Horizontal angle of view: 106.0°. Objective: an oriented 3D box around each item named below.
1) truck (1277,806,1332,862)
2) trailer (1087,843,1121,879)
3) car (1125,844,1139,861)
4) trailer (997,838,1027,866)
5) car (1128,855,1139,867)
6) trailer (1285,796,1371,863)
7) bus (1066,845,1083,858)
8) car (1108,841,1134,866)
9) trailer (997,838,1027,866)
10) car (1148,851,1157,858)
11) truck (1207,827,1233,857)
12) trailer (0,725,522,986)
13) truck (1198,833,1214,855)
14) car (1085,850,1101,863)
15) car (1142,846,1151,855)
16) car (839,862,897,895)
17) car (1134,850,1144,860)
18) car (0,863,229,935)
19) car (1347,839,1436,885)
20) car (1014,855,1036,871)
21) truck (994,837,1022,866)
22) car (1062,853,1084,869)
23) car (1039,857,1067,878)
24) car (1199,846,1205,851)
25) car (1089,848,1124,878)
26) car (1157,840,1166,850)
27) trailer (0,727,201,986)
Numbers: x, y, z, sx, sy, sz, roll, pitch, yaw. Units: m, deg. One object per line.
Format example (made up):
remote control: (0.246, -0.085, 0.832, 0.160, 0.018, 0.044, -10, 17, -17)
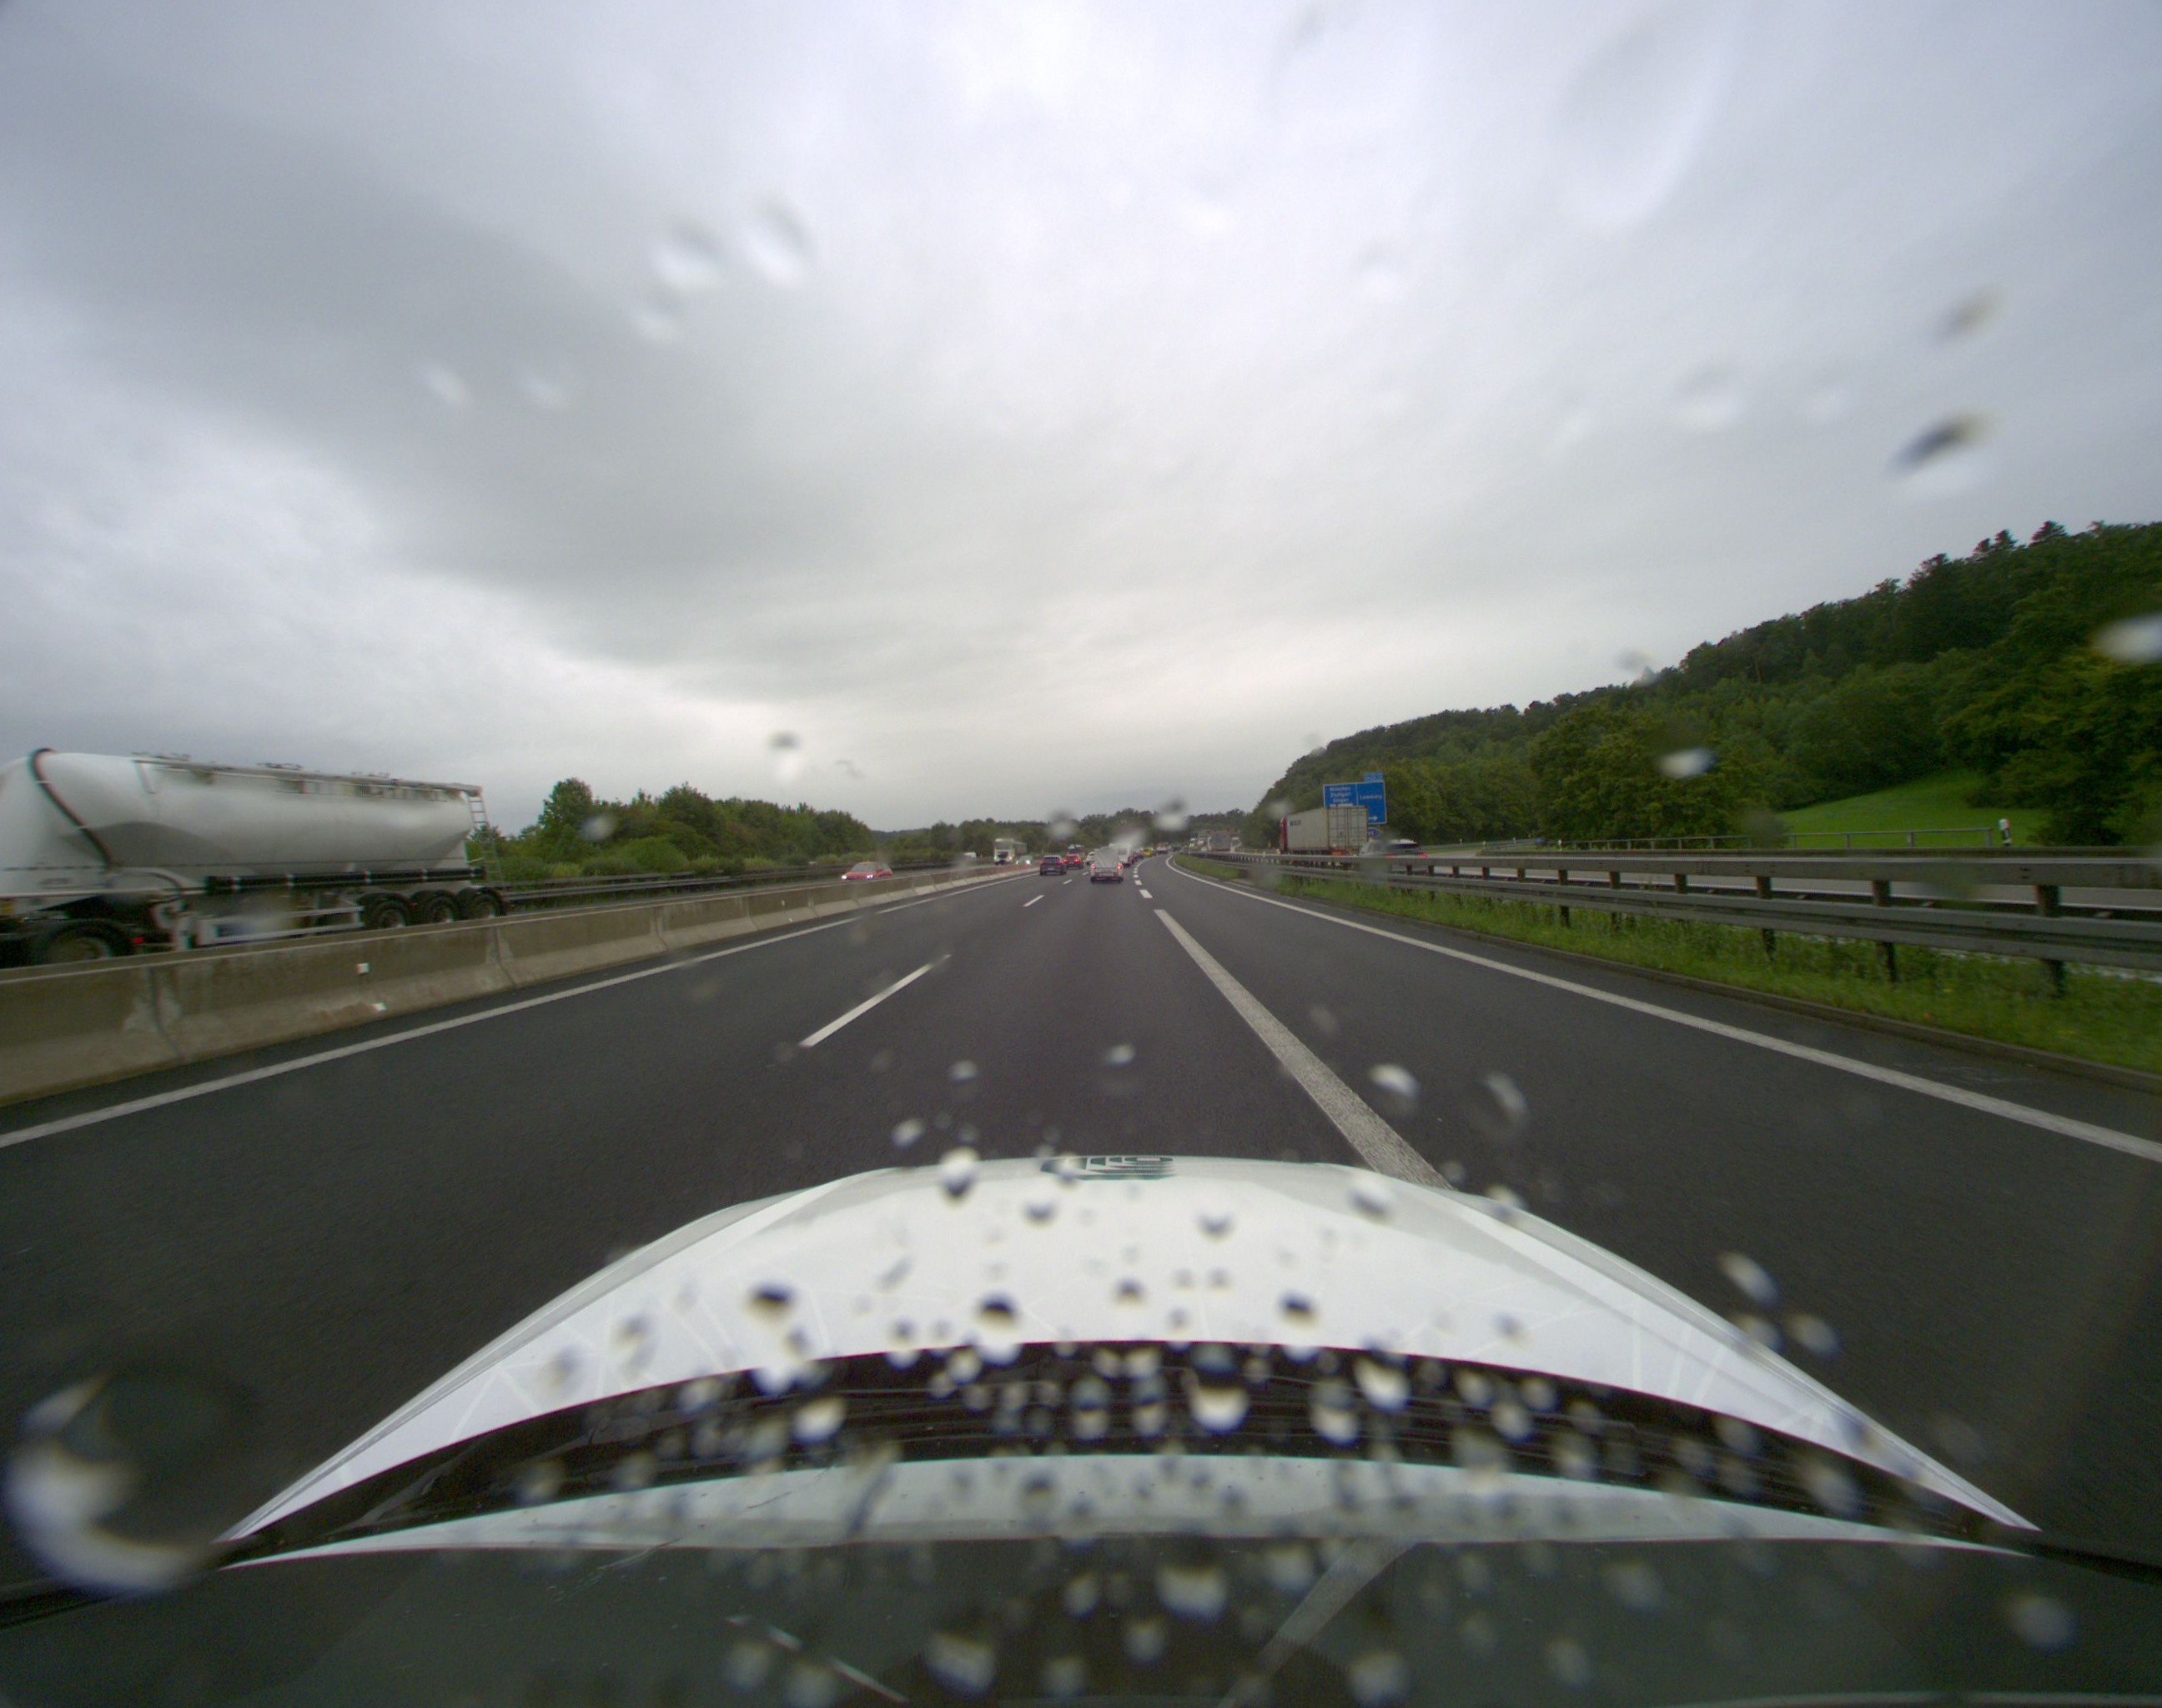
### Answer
truck: (16.647, -1.427, 60.986, 2.605, 3.884, 6.398, -2, 0, 3)
trailer: (1.295, 0.376, 43.870, 1.669, 1.812, 4.003, -2, 0, 3)
car: (6.737, -0.185, 107.441, 1.669, 2.067, 4.002, -2, 0, 2)
trailer: (-9.645, -0.303, 115.341, 2.891, 3.749, 8.935, -2, 0, 3)
car: (8.129, 1.043, 126.033, 1.668, 1.812, 4.004, -2, 0, 4)
trailer: (16.238, -1.441, 54.579, 2.593, 3.894, 12.502, -2, 0, 4)
bus: (-1.443, -0.506, 187.434, 2.685, 2.958, 11.916, -1, -1, 6)
car: (4.378, -0.087, 88.698, 2.495, 2.585, 5.707, -2, 0, 5)
trailer: (-9.645, -0.303, 115.341, 2.891, 3.749, 8.935, -2, 0, 3)
car: (17.546, 0.110, 198.959, 2.027, 1.683, 4.006, -2, 0, 5)
truck: (23.502, -1.904, 138.676, 3.200, 4.666, 13.050, -2, 0, 5)
trailer: (-16.558, 0.071, 16.443, 2.626, 3.736, 10.818, -2, 0, 3)
truck: (27.703, -2.109, 180.799, 3.197, 4.666, 13.064, -2, 0, 9)
car: (1.564, 0.293, 103.842, 1.767, 1.640, 4.048, -2, 0, 5)
car: (14.525, -0.804, 179.531, 1.666, 1.812, 4.009, -2, 0, 8)
car: (-11.361, 1.261, 43.678, 1.801, 1.580, 4.357, -2, 0, 2)
car: (10.692, 0.176, 150.254, 1.668, 1.812, 4.004, -2, 0, 4)
car: (-31.147, 1.340, 26.155, 1.867, 2.013, 5.301, -2, 0, 2)
car: (11.891, 0.284, 31.499, 1.763, 1.610, 4.645, -2, 0, 2)
car: (-6.931, 1.130, 101.327, 1.886, 1.876, 4.548, -2, 0, 5)
truck: (-9.882, -0.319, 111.214, 2.875, 3.749, 5.949, -2, 0, 3)
car: (-0.766, 0.706, 81.316, 1.757, 1.456, 4.006, -2, 0, 5)
car: (-2.071, 0.967, 60.977, 1.669, 1.456, 4.003, -2, 0, 3)
car: (37.910, -1.814, 255.381, 1.666, 1.456, 4.010, -2, 0, 9)
car: (1.548, 0.517, 47.529, 1.811, 1.616, 4.782, -2, 0, 4)
car: (22.681, -2.499, 229.879, 2.503, 2.574, 5.321, -2, 0, 6)
trailer: (-16.829, 0.064, 10.987, 2.626, 3.715, 6.496, -2, 0, 2)
